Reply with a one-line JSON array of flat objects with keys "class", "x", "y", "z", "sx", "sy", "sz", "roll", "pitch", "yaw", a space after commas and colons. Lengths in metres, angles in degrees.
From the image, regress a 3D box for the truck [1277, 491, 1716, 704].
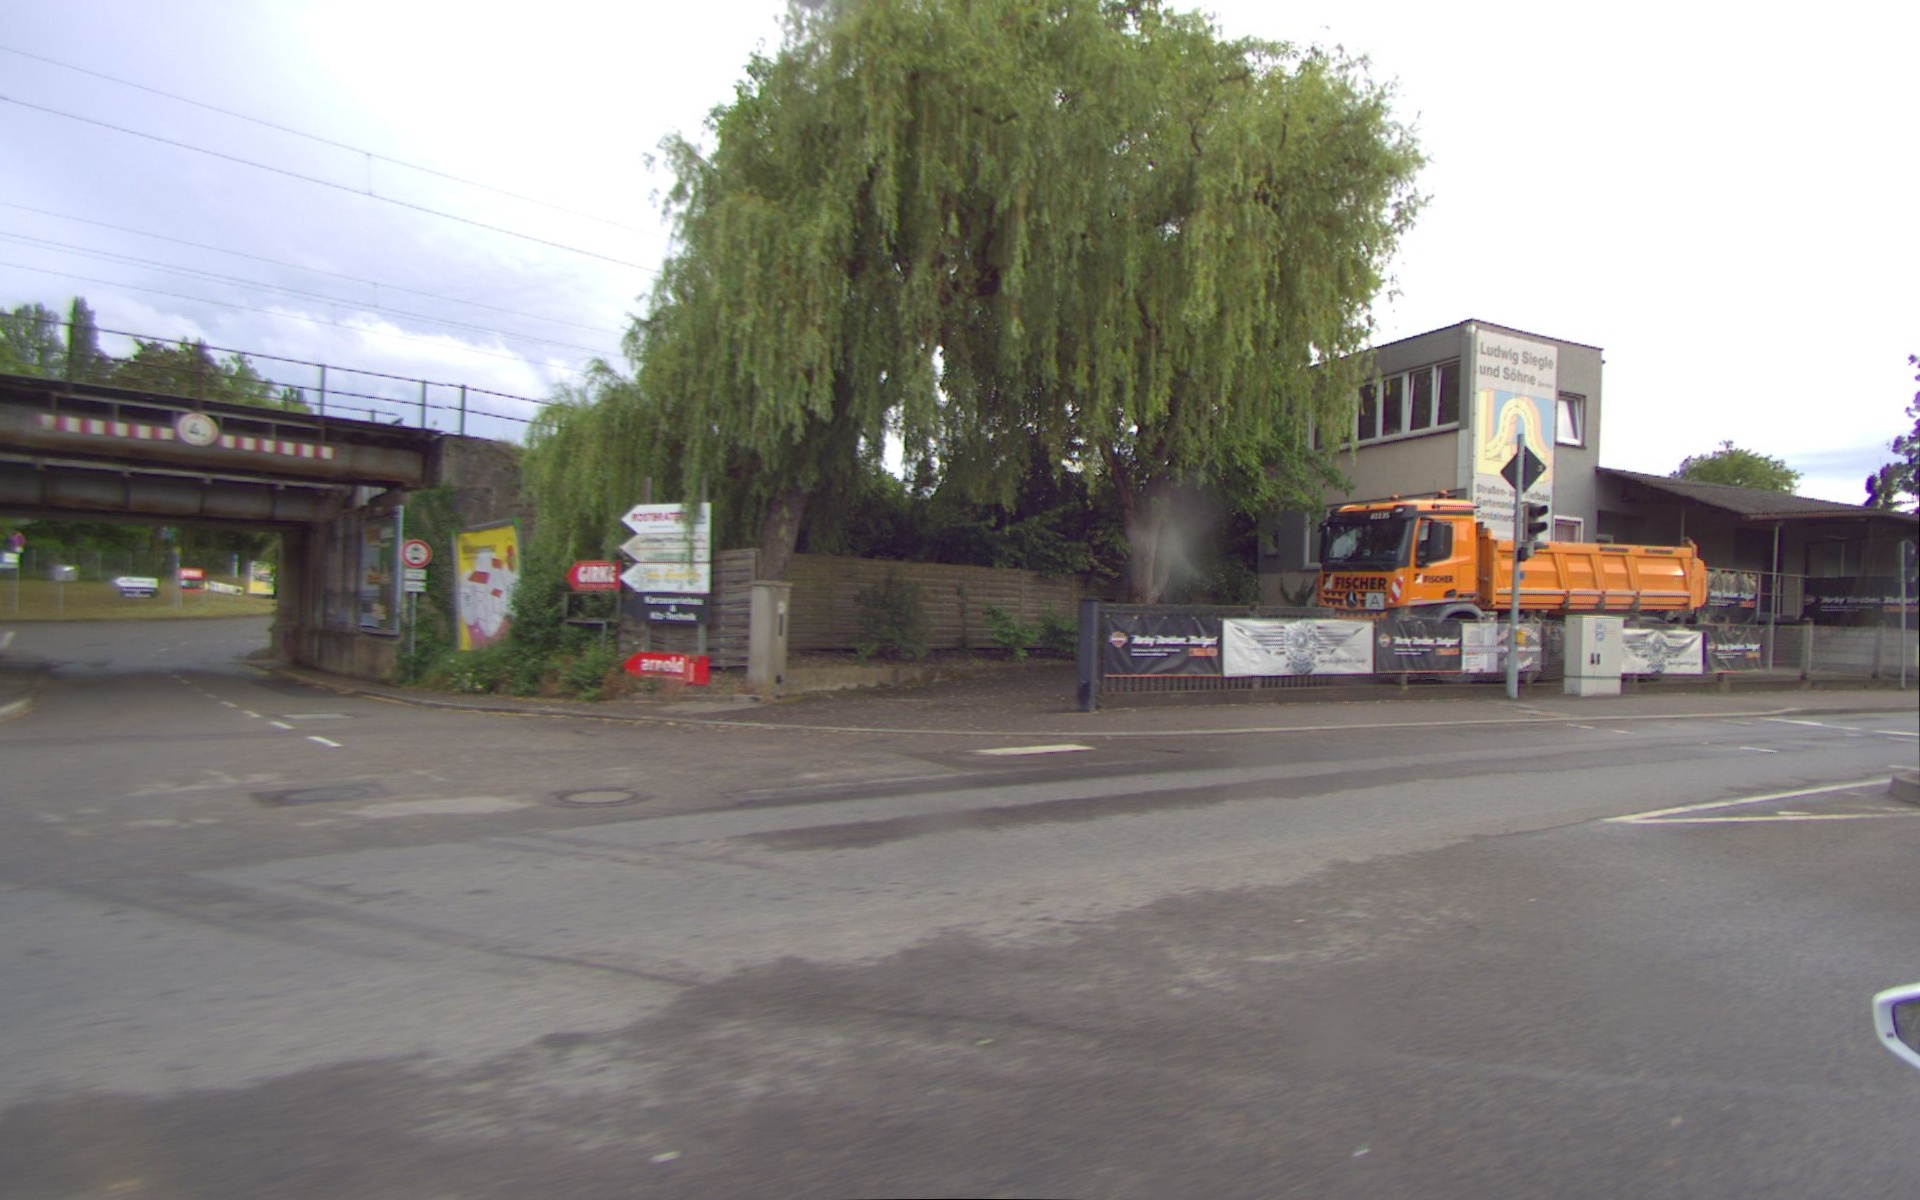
[{"class": "truck", "x": 10.957, "y": 0.096, "z": 20.294, "sx": 8.947, "sy": 3.456, "sz": 2.690, "roll": 4, "pitch": 1, "yaw": -24}]
